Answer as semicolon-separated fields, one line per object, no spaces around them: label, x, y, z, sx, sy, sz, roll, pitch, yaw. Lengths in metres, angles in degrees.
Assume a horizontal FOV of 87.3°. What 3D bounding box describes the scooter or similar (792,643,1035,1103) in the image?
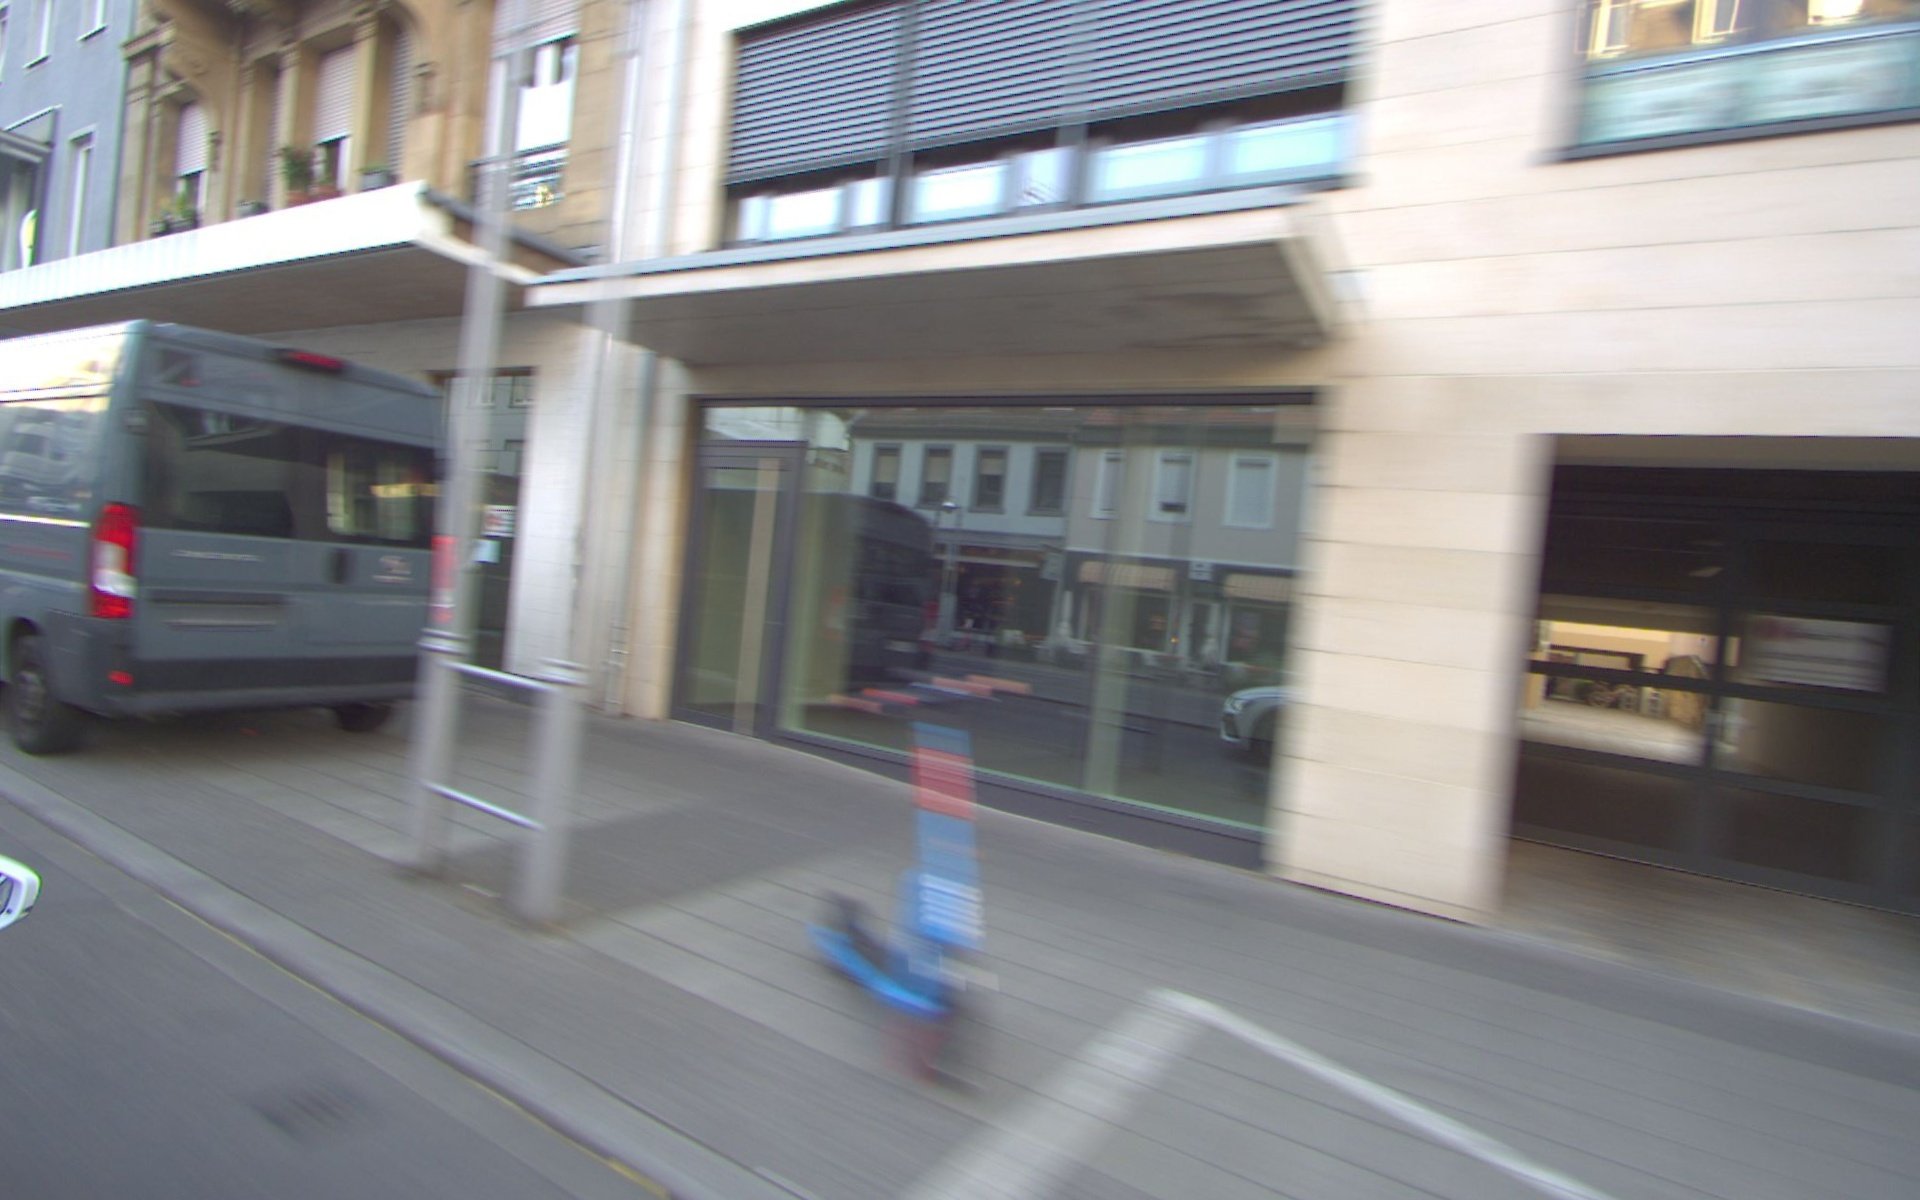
scooter or similar;-0.216;0.833;3.491;0.350;1.240;1.108;4;3;-25

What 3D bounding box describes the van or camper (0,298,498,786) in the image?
van or camper;-6.378;-0.535;7.579;6.030;2.459;2.189;6;3;31

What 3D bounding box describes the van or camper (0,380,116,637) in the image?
van or camper;-11.651;-1.131;10.834;5.425;2.459;2.189;6;3;30
